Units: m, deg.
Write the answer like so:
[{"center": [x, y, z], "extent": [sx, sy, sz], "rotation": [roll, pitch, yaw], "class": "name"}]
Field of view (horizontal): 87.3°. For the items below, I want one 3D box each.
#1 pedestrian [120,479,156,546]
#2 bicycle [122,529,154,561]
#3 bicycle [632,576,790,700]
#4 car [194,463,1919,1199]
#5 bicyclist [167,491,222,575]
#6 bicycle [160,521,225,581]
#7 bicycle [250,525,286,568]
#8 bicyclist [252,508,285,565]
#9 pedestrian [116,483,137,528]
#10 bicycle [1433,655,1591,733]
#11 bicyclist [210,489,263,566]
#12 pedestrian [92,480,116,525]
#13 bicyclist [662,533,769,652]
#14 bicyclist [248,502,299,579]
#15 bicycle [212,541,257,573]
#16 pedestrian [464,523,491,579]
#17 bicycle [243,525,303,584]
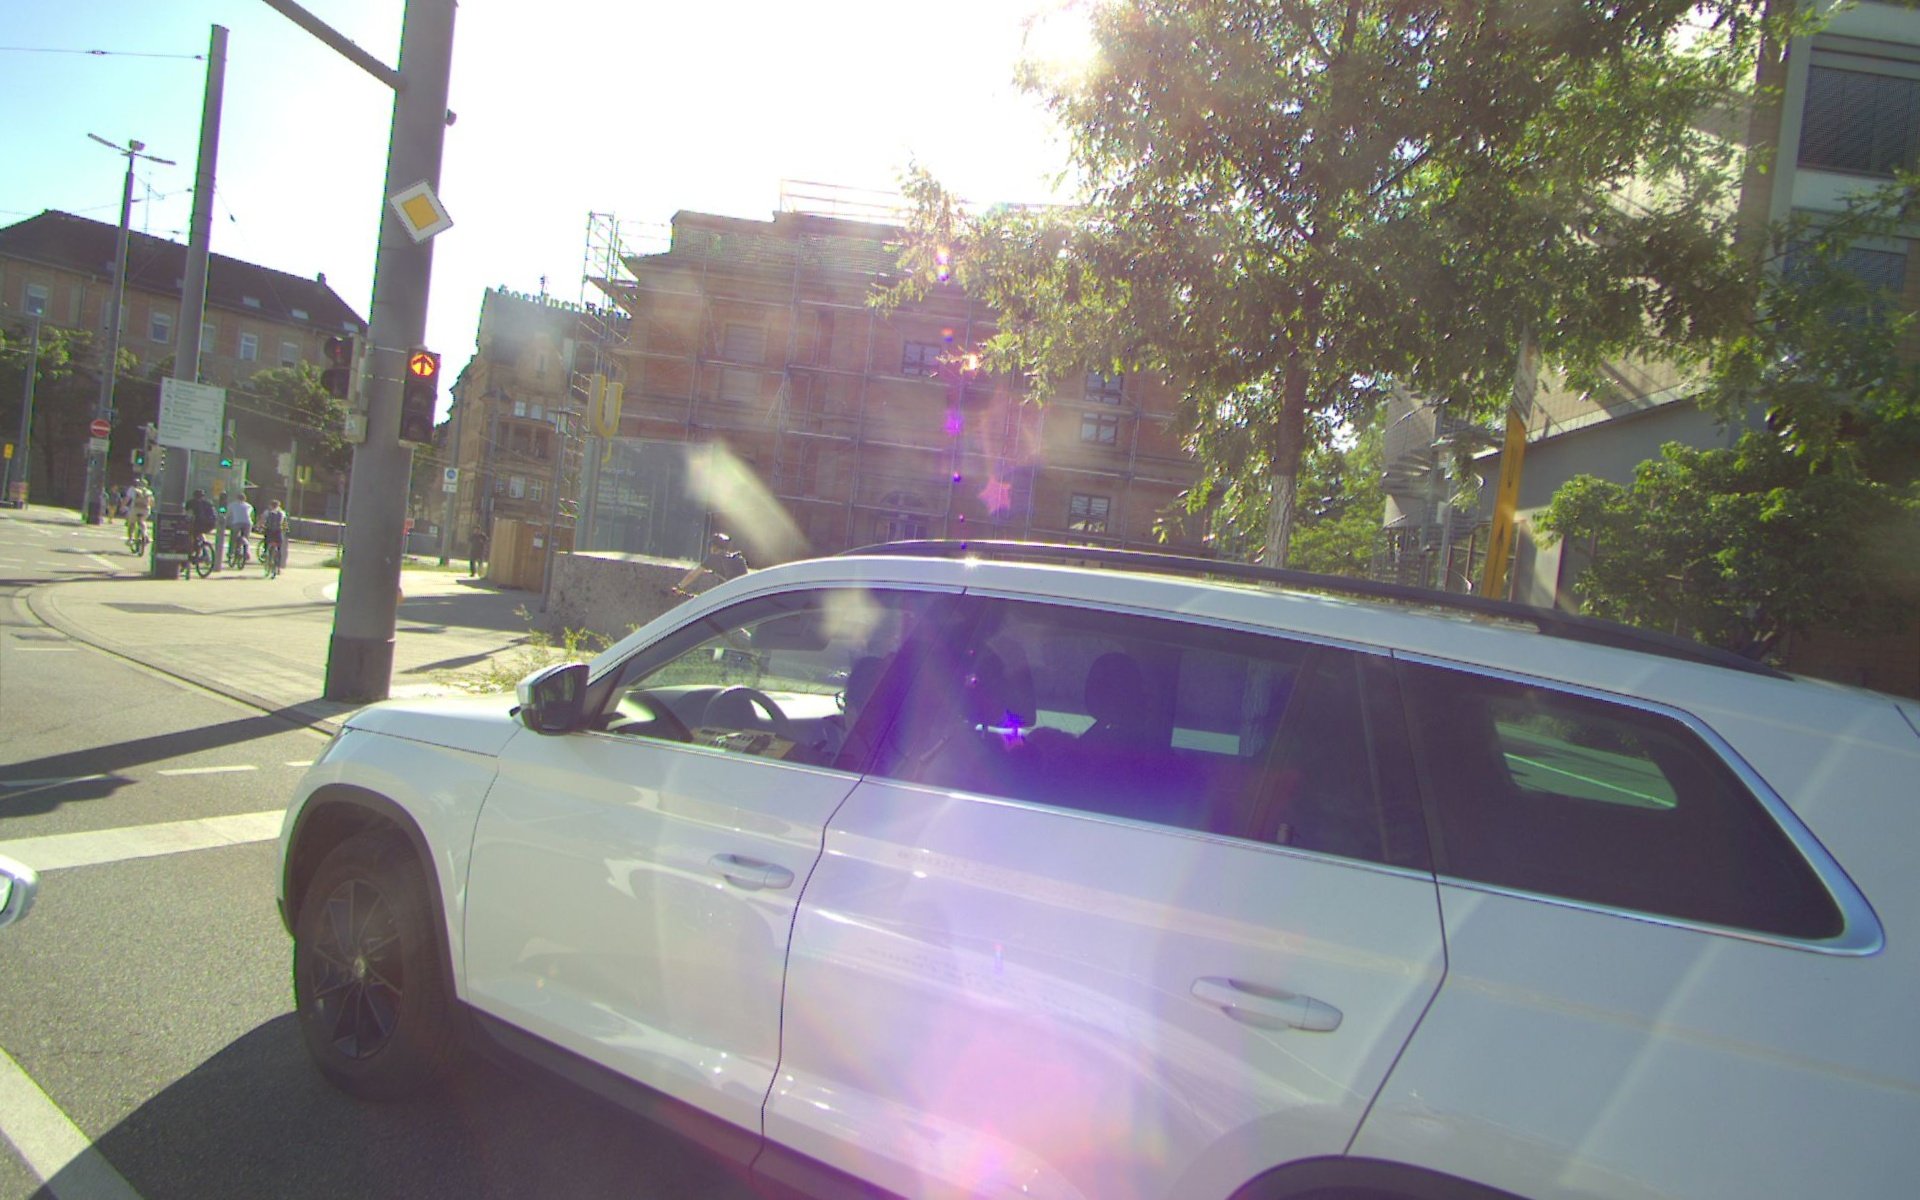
[{"center": [-20.543, -2.179, 25.151], "extent": [0.545, 1.582, 0.849], "rotation": [6, 1, -38], "class": "pedestrian"}, {"center": [-20.614, -1.386, 25.255], "extent": [0.534, 0.664, 1.707], "rotation": [6, 1, -38], "class": "bicycle"}, {"center": [-3.003, 0.433, 12.079], "extent": [1.804, 1.234, 0.690], "rotation": [7, 3, 32], "class": "bicycle"}, {"center": [-0.002, 0.695, 2.696], "extent": [4.224, 1.662, 1.697], "rotation": [7, 0, 30], "class": "car"}, {"center": [-15.995, -1.394, 21.021], "extent": [0.980, 1.659, 0.624], "rotation": [6, 3, 38], "class": "bicyclist"}, {"center": [-16.114, -1.038, 21.113], "extent": [1.823, 1.129, 0.624], "rotation": [6, 3, 38], "class": "bicycle"}, {"center": [-20.356, -1.591, 29.578], "extent": [0.569, 1.139, 1.719], "rotation": [5, 2, -42], "class": "bicycle"}, {"center": [-20.329, -1.869, 29.570], "extent": [0.569, 1.589, 0.935], "rotation": [5, 2, -42], "class": "bicyclist"}, {"center": [-39.367, -4.461, 47.504], "extent": [0.443, 2.039, 0.462], "rotation": [7, 2, 14], "class": "pedestrian"}, {"center": [13.063, 2.201, 23.888], "extent": [3.079, 1.395, 0.798], "rotation": [7, 1, 8], "class": "bicycle"}, {"center": [-18.142, -1.807, 25.224], "extent": [0.910, 1.802, 0.746], "rotation": [8, 2, 39], "class": "bicyclist"}, {"center": [-40.598, -4.601, 47.713], "extent": [0.443, 2.039, 0.574], "rotation": [7, 1, 14], "class": "pedestrian"}, {"center": [-2.918, -0.090, 12.013], "extent": [0.892, 1.296, 0.720], "rotation": [7, 3, 32], "class": "bicyclist"}, {"center": [-15.418, -1.330, 22.588], "extent": [0.964, 1.620, 0.683], "rotation": [7, 3, 43], "class": "bicyclist"}, {"center": [-18.192, -1.085, 25.218], "extent": [1.446, 0.664, 0.536], "rotation": [7, 2, 39], "class": "bicycle"}, {"center": [-17.101, -1.741, 35.676], "extent": [0.692, 1.904, 0.716], "rotation": [6, 1, -25], "class": "pedestrian"}, {"center": [-15.410, -1.028, 22.552], "extent": [1.858, 1.179, 0.683], "rotation": [7, 3, 43], "class": "bicycle"}]
